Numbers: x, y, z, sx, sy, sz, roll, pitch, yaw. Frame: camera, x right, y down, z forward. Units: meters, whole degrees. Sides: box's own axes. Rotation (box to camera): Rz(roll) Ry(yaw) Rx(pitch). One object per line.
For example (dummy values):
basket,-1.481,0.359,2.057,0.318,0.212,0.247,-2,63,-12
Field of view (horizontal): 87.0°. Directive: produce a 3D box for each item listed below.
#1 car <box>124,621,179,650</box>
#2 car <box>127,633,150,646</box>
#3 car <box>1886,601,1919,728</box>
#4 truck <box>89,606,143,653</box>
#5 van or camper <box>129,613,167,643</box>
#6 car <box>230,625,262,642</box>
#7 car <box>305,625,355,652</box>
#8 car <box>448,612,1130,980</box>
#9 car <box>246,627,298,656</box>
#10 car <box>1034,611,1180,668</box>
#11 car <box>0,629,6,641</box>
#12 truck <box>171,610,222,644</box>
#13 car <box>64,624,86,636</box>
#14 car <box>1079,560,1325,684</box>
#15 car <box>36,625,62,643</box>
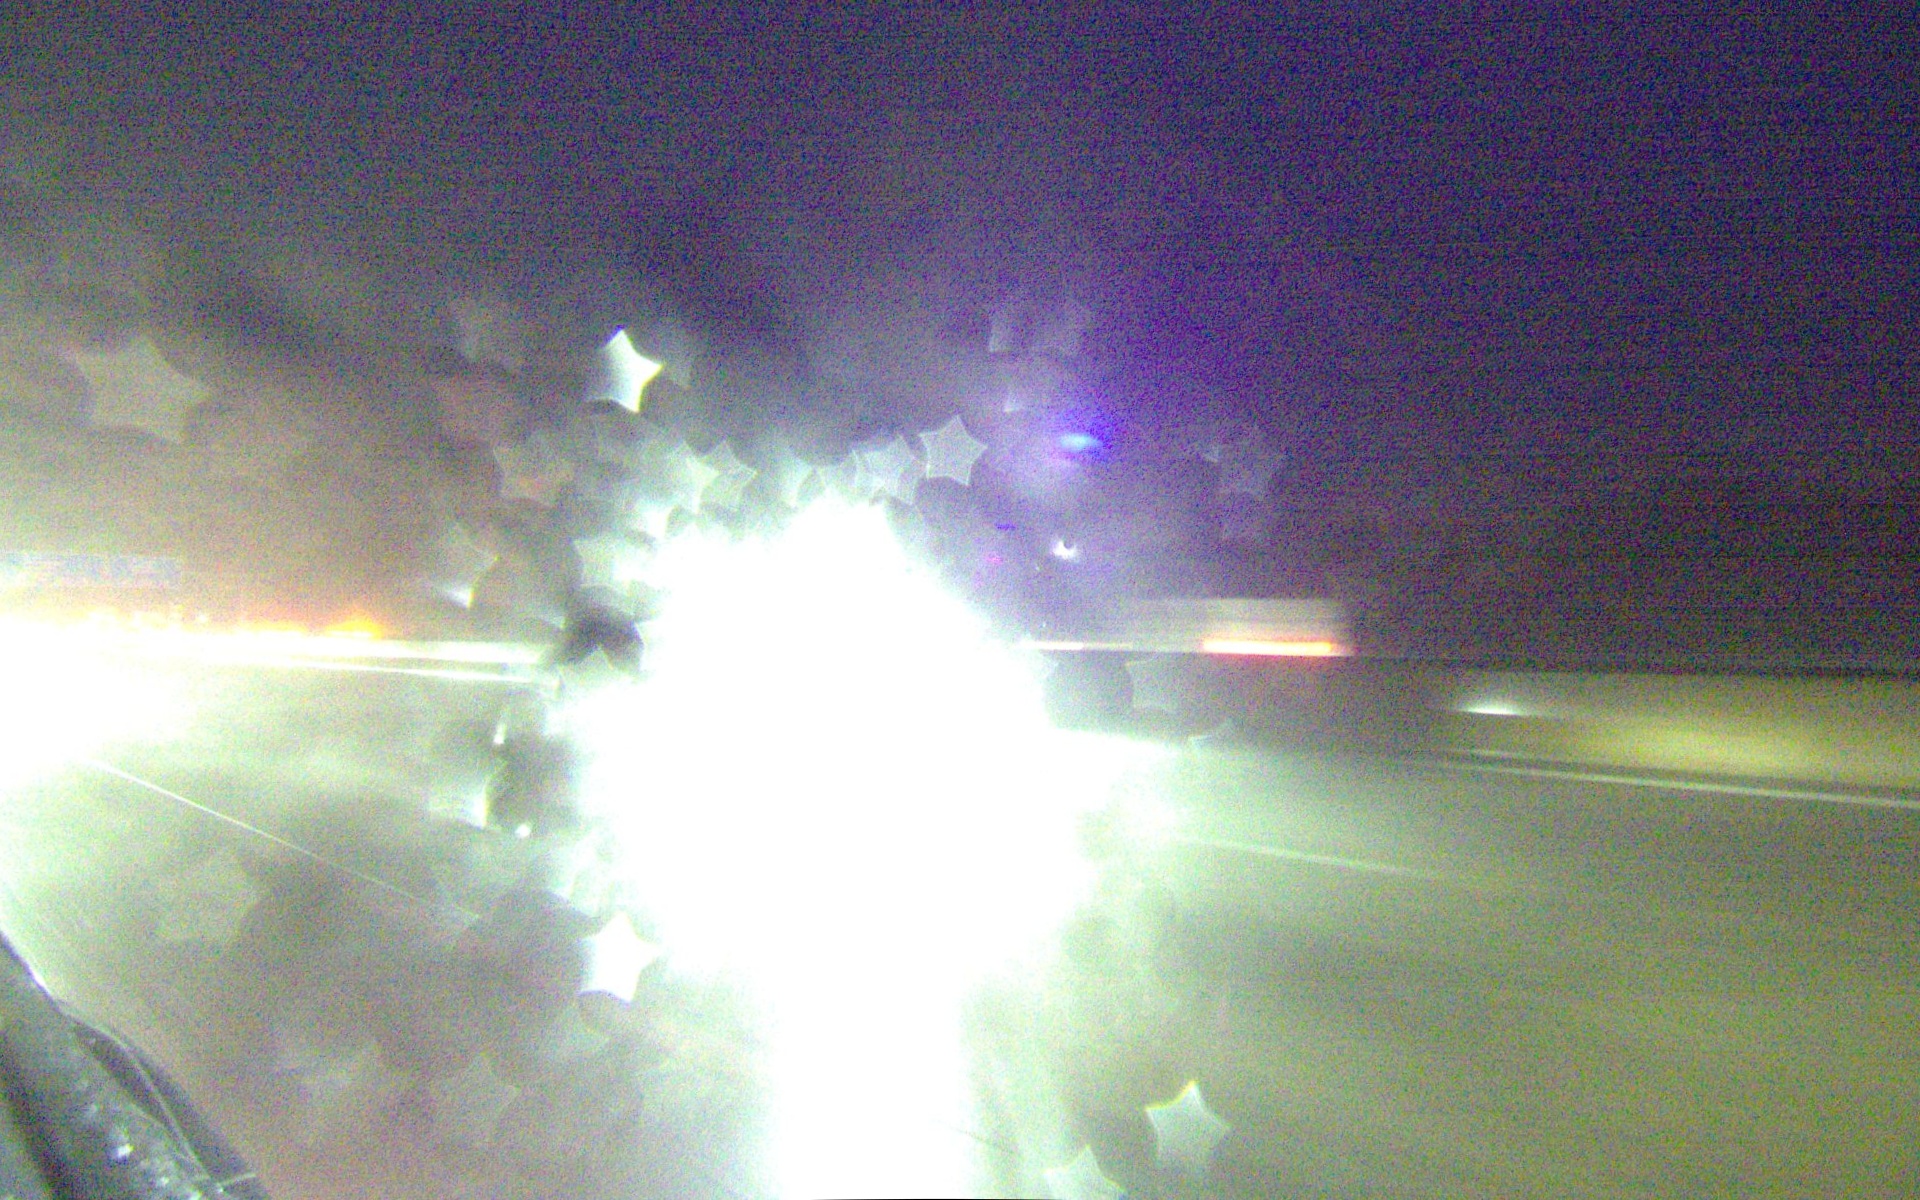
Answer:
car,-53.921,2.352,67.455,5.162,1.820,1.973,-1,0,41
car,-98.296,4.689,121.093,3.460,1.512,1.528,-1,0,41
car,12.968,0.696,10.612,4.668,1.405,1.735,-1,0,39
truck,-123.576,4.278,148.016,17.292,6.460,3.190,-1,0,41
van or camper,-105.691,3.599,131.671,7.675,3.729,2.488,-1,0,41
car,-72.987,3.385,103.437,3.884,1.685,1.745,-1,0,41
car,-41.849,2.553,67.206,3.884,1.685,1.745,-1,0,41
car,-1.264,0.828,6.014,4.242,1.442,1.640,-2,-1,40
car,-43.387,2.574,63.822,3.884,1.685,1.745,-1,0,41
car,4.730,1.241,32.980,4.542,1.697,1.578,-1,0,38
car,-141.760,5.159,148.761,4.753,1.812,1.647,-1,0,41
truck,-70.433,2.488,93.323,6.698,3.022,2.426,-1,0,41
car,-122.945,4.198,140.604,4.202,1.640,1.659,-1,0,41
car,5.180,0.461,22.031,4.839,2.419,1.950,-1,0,39
car,-109.035,4.013,121.100,3.997,2.029,1.772,-1,0,41
